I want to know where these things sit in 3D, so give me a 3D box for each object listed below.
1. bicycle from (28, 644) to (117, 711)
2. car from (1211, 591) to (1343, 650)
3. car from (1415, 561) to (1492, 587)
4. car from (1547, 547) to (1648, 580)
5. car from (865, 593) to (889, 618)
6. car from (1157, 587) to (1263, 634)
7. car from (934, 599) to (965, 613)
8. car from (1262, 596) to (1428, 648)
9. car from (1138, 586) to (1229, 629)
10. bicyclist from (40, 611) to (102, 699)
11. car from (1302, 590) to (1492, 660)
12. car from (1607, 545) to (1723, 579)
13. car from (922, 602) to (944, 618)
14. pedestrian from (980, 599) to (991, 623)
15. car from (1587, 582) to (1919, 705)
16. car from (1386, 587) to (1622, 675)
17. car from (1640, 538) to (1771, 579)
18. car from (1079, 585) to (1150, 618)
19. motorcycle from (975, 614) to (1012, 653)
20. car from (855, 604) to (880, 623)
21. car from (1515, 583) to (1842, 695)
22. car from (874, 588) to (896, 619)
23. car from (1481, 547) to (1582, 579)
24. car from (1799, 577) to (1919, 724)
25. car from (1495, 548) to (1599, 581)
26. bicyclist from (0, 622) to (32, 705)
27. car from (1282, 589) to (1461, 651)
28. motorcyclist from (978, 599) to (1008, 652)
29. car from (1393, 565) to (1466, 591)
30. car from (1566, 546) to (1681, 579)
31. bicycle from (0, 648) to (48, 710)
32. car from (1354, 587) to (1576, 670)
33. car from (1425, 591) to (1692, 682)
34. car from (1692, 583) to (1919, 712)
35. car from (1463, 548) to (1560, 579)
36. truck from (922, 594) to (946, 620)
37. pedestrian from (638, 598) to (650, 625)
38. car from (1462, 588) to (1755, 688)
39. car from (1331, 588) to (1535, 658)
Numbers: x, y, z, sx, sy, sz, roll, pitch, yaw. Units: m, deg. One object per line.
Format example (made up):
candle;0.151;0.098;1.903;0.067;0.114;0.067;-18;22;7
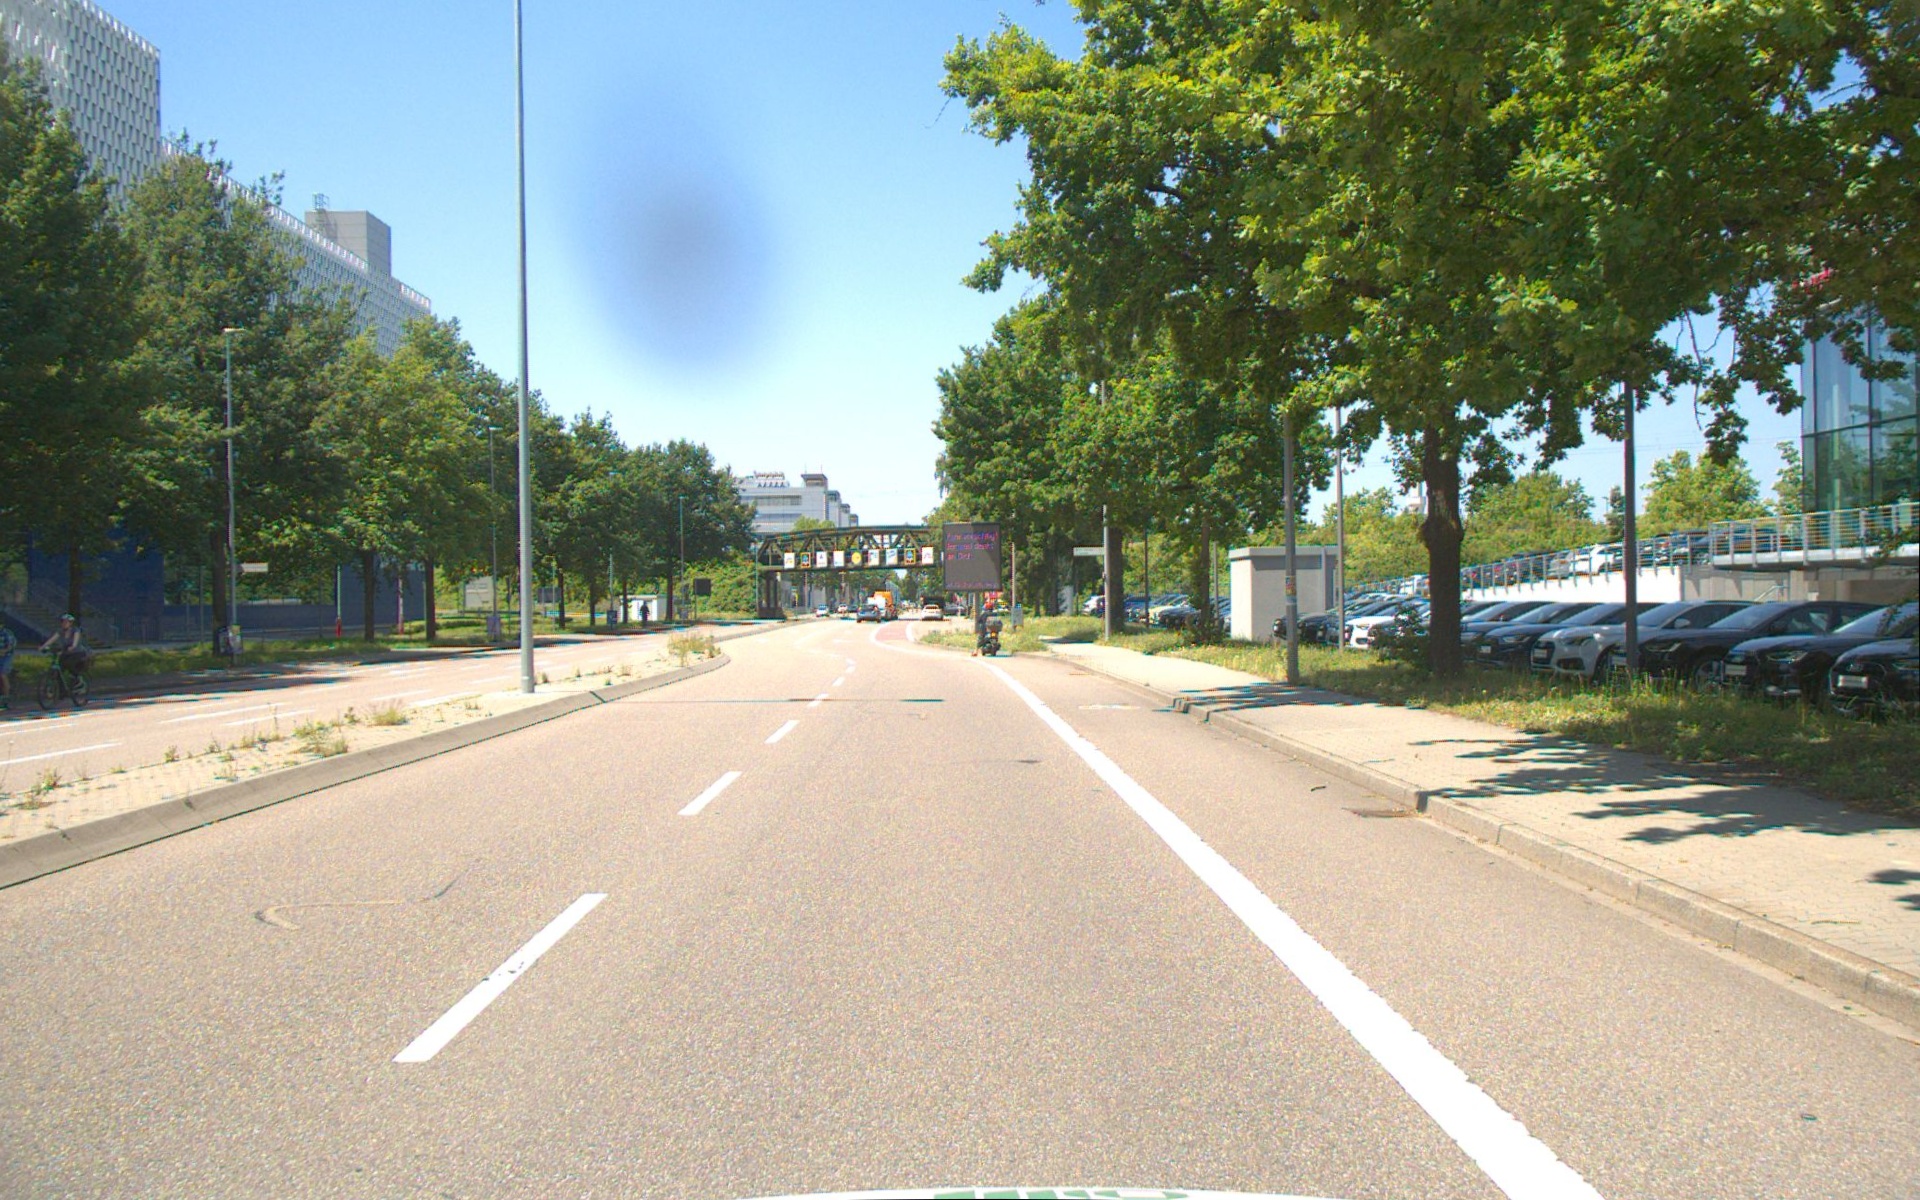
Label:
bicycle;-17.383;1.504;32.453;0.616;1.179;2.116;-3;0;-2
car;10.573;0.675;55.269;3.911;1.646;1.795;4;-1;-6
car;25.445;-1.326;85.309;3.454;1.261;1.540;1;0;-4
car;25.859;-1.472;67.150;3.455;1.261;1.674;1;0;-6
car;-7.056;0.478;140.640;1.953;2.049;3.998;1;0;-2
car;10.333;0.432;68.460;3.911;1.652;1.795;4;-1;-6
car;-1.386;0.749;216.875;3.903;1.780;1.893;-1;0;3
car;10.657;0.598;45.984;4.135;1.365;1.917;0;0;-2
car;10.317;0.348;76.419;3.787;1.632;1.795;4;-1;-6
bicyclist;-17.402;1.061;32.396;0.621;1.657;1.044;-3;0;-2
car;10.766;0.609;40.966;4.136;1.478;1.917;3;0;-2
car;26.328;-1.407;61.801;3.652;1.150;1.682;1;0;-6
car;-2.497;0.865;150.562;1.885;1.445;3.998;0;0;-2
pedestrian;1.499;0.643;97.473;0.611;1.398;0.564;-1;0;-3
car;11.104;0.585;22.815;4.136;1.431;1.917;3;0;-2
car;10.792;0.604;33.012;4.047;1.404;1.778;4;0;-2
car;26.701;-1.473;59.323;3.910;1.334;1.795;1;0;-6
car;9.081;0.113;97.495;3.787;1.632;1.795;4;-1;-6
motorcycle;0.974;0.973;48.879;0.703;1.124;1.825;1;0;-11
car;-7.151;1.014;128.350;1.862;1.400;4.229;-1;0;-2
car;10.907;0.574;25.313;4.136;1.431;1.917;3;0;-2
car;-7.224;0.333;159.589;2.031;2.904;6.762;-1;0;-2
car;25.920;-1.672;75.072;3.910;1.334;1.795;-1;0;-6
car;11.314;0.605;17.188;4.238;1.431;1.824;3;0;-2
car;25.754;-1.553;72.580;3.910;1.334;1.795;1;0;-6
bicyclist;-18.881;1.243;32.636;0.624;1.610;0.884;-1;0;0
car;10.740;0.524;43.368;4.136;1.365;1.917;3;0;-2
motorcyclist;0.982;0.754;48.842;0.706;1.556;0.868;1;-1;-11
car;25.162;-1.178;88.720;3.453;1.261;1.541;1;0;-2
car;25.930;-1.462;64.680;3.863;1.232;1.715;0;0;-6
bicycle;-18.884;1.557;32.670;0.624;1.153;1.971;-1;0;1
car;10.853;0.600;35.724;4.137;1.409;1.917;5;0;-2
car;10.900;0.646;30.327;4.136;1.393;1.988;3;0;-2
car;11.328;0.608;19.929;4.136;1.379;1.878;3;0;-2
car;25.874;-1.717;77.622;3.910;1.334;1.795;-1;0;-6
truck;-2.661;0.677;167.204;2.409;2.452;7.131;1;0;-1
pedestrian;-22.506;0.812;117.631;0.728;1.917;0.577;-1;0;-1
car;10.834;0.616;27.834;4.136;1.432;1.917;3;0;-2
car;10.902;0.520;38.314;4.136;1.365;1.917;3;0;-2
